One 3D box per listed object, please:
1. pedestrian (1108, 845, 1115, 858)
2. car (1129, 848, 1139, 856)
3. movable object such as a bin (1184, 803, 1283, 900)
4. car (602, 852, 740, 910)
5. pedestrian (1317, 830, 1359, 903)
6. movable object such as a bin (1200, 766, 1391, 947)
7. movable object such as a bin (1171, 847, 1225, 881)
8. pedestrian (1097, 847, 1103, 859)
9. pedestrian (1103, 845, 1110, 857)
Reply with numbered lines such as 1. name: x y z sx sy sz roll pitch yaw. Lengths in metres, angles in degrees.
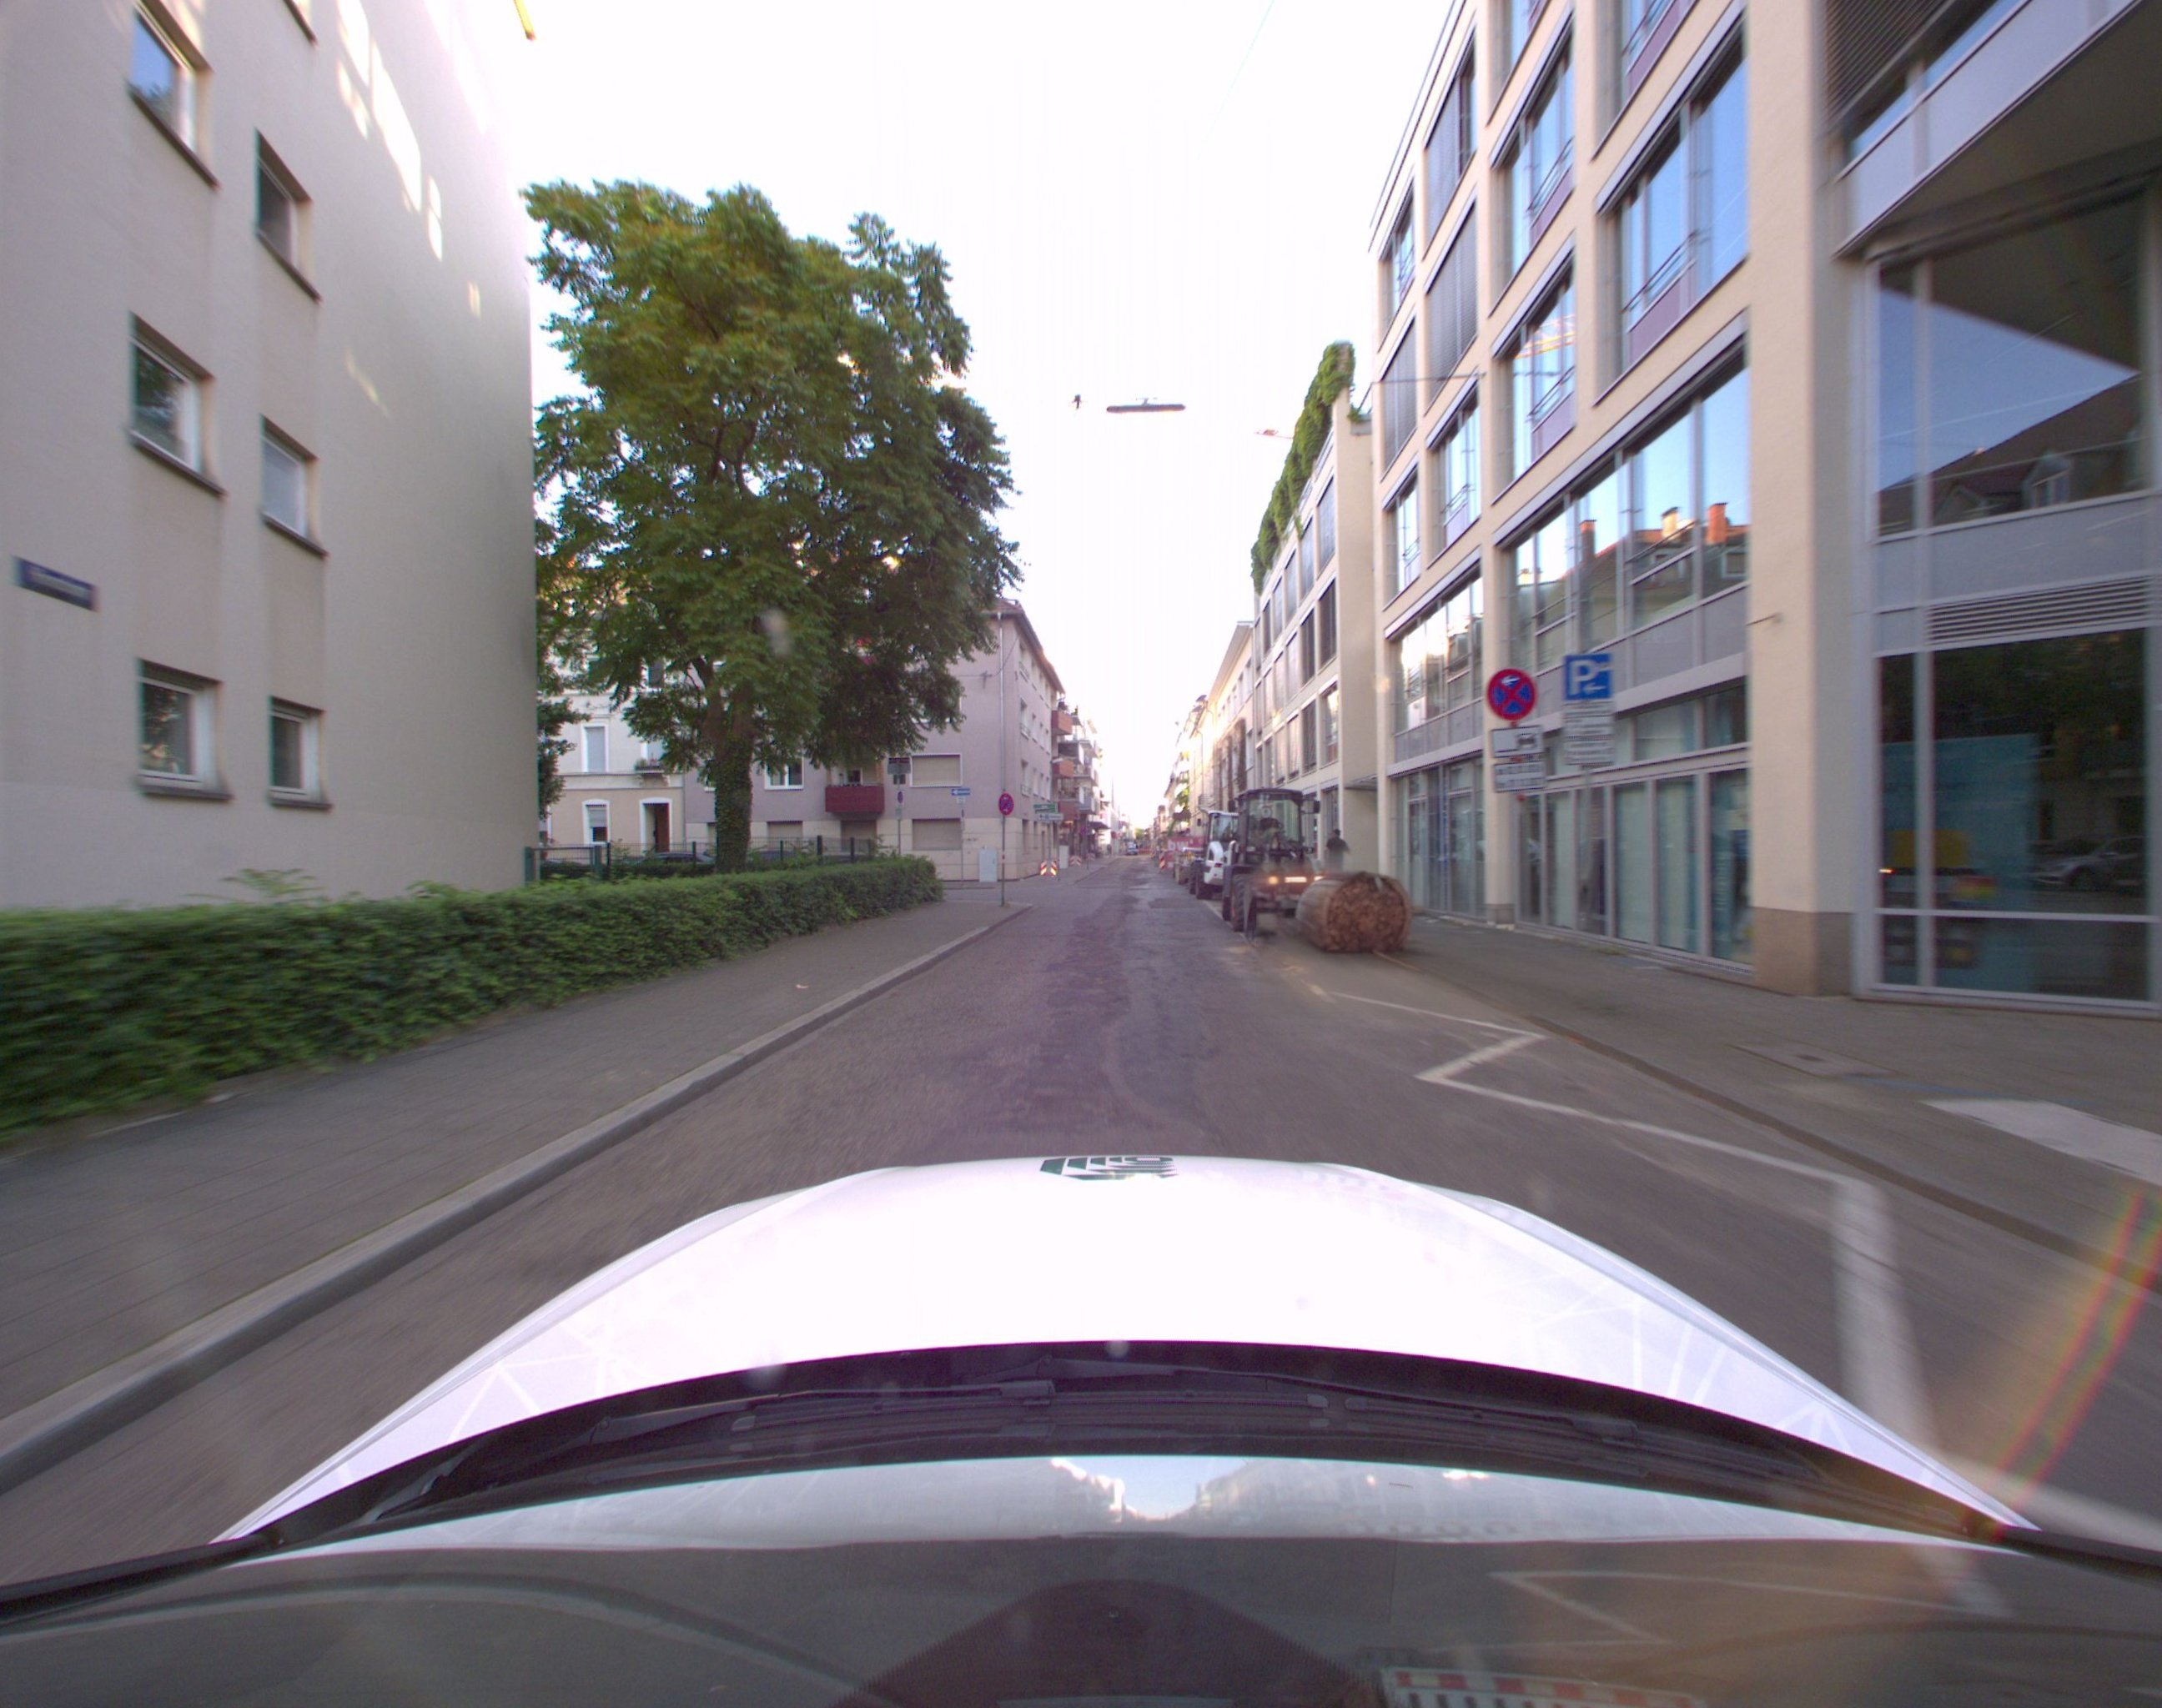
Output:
1. pedestrian: 3.870 -0.327 102.627 0.793 1.661 0.746 -1 0 7
2. car: 8.607 -0.319 132.390 1.531 1.134 3.122 -1 1 1
3. movable object such as a bin: 4.315 -0.092 23.755 2.268 2.540 4.101 -1 0 2
4. car: -13.340 0.843 26.667 3.508 1.756 1.886 -1 1 1
5. pedestrian: 6.685 0.317 21.240 0.882 1.850 0.878 -1 0 7
6. movable object such as a bin: 3.659 0.014 15.167 2.267 2.692 5.653 -1 1 3
7. movable object such as a bin: 5.281 0.411 37.236 2.038 1.411 3.977 -1 1 2
8. pedestrian: 2.286 -0.131 96.503 0.661 1.438 0.534 -1 0 7
9. pedestrian: 3.343 -0.443 107.395 0.793 1.594 0.746 -1 0 7
